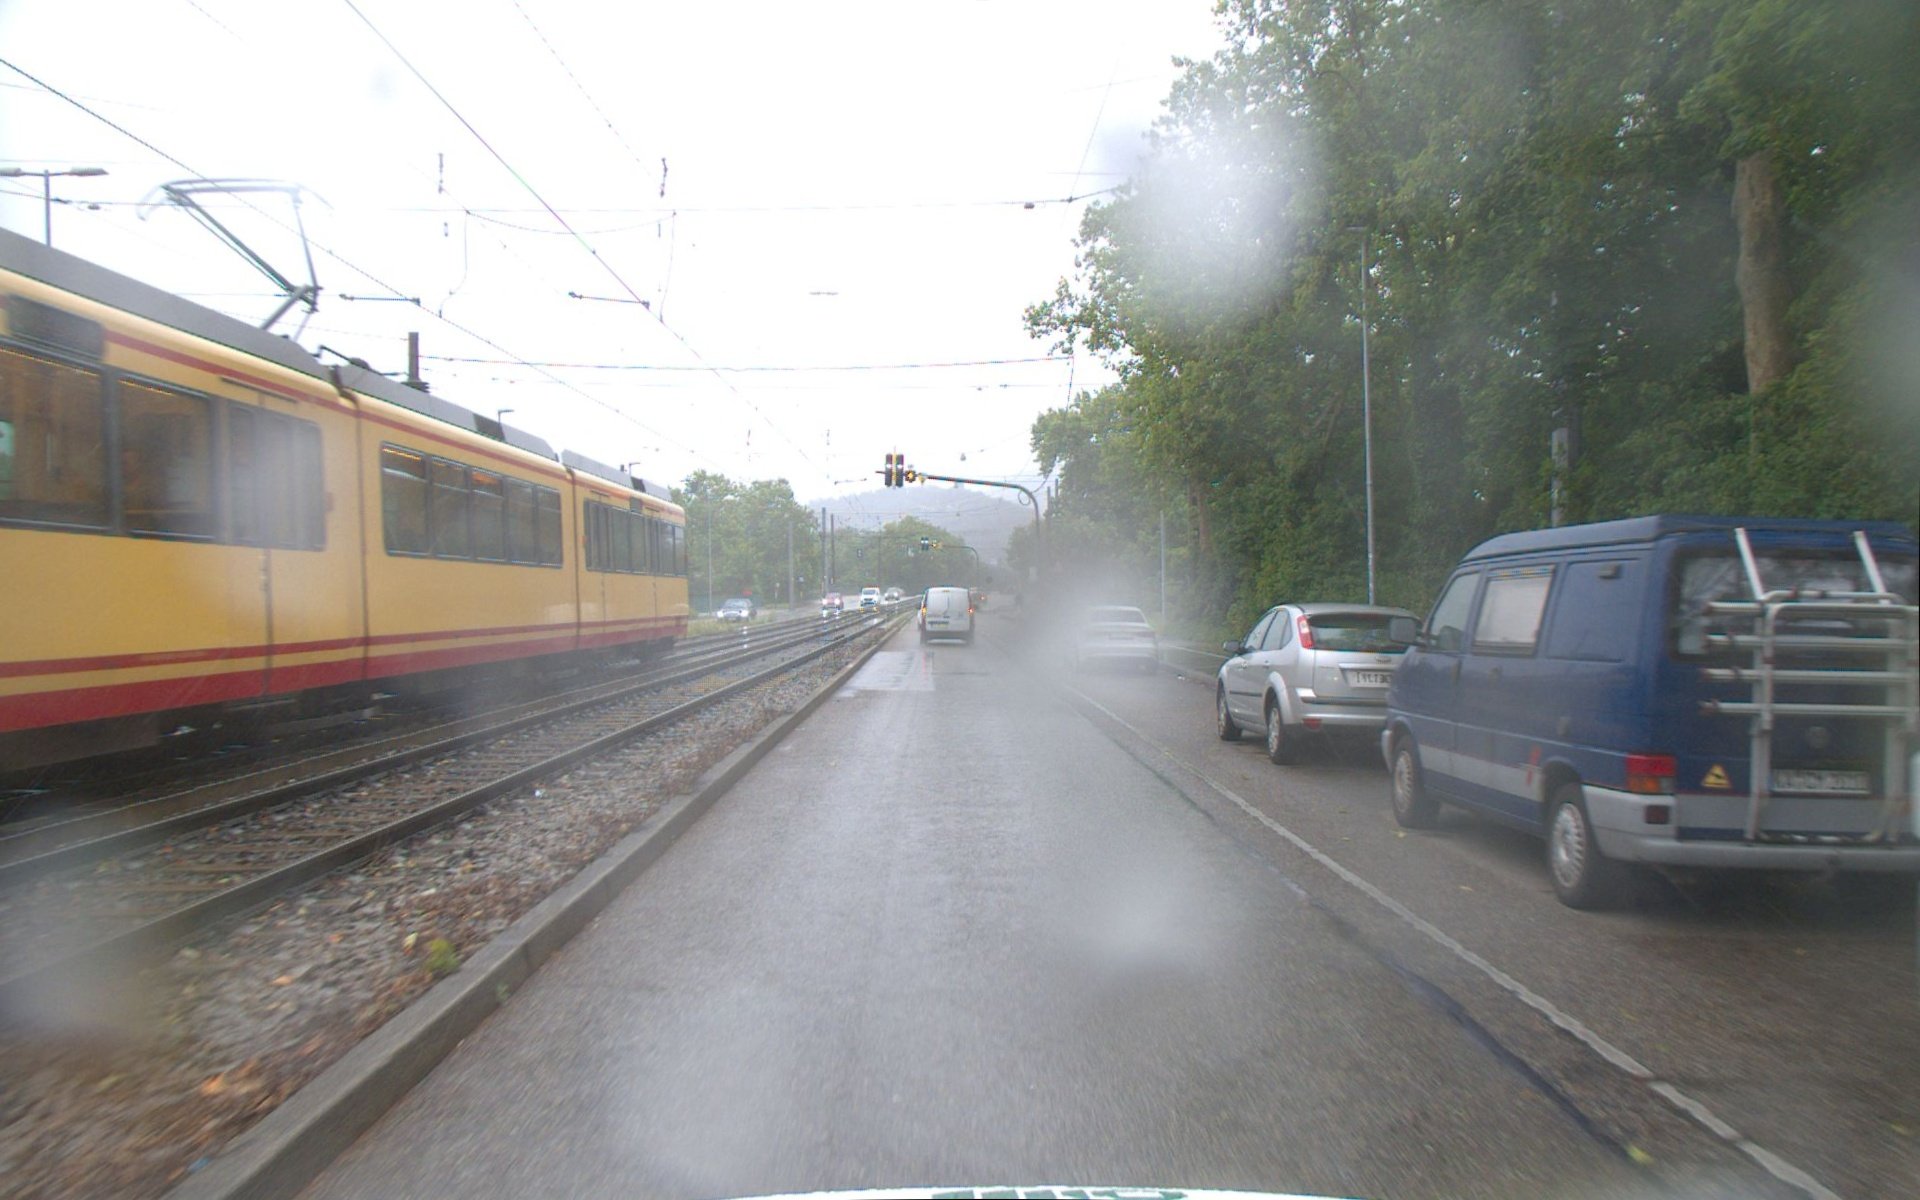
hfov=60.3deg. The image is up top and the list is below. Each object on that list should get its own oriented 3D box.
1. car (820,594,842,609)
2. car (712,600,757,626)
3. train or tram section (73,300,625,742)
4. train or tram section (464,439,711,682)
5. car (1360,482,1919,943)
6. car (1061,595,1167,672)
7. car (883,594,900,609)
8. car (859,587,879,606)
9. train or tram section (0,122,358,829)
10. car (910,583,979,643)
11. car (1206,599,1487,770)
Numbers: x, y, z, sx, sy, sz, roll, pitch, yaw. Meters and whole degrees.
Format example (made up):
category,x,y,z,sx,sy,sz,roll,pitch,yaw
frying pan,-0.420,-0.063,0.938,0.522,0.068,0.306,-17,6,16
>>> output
category,x,y,z,sx,sy,sz,roll,pitch,yaw
car,-12.195,0.143,156.447,1.782,1.422,3.999,-1,0,-1
car,-13.005,0.731,95.592,1.953,1.429,5.384,0,0,-1
train or tram section,-7.185,-0.726,22.401,2.749,4.222,13.016,0,0,-1
train or tram section,-7.283,-0.635,34.063,2.753,4.222,10.267,0,-1,0
car,3.984,0.510,9.955,1.838,2.049,4.979,1,0,-1
car,3.300,0.683,36.172,1.782,1.512,4.480,2,0,-1
car,-8.985,0.198,217.196,1.952,1.982,4.000,0,-1,0
car,-10.470,-0.389,190.595,1.952,2.049,4.000,0,-1,0
train or tram section,-7.112,-0.751,9.304,2.749,4.222,13.017,0,0,0
car,-0.541,0.407,53.409,1.954,1.881,3.996,0,0,-5
car,3.781,0.769,16.946,1.776,1.485,4.345,1,0,-1
